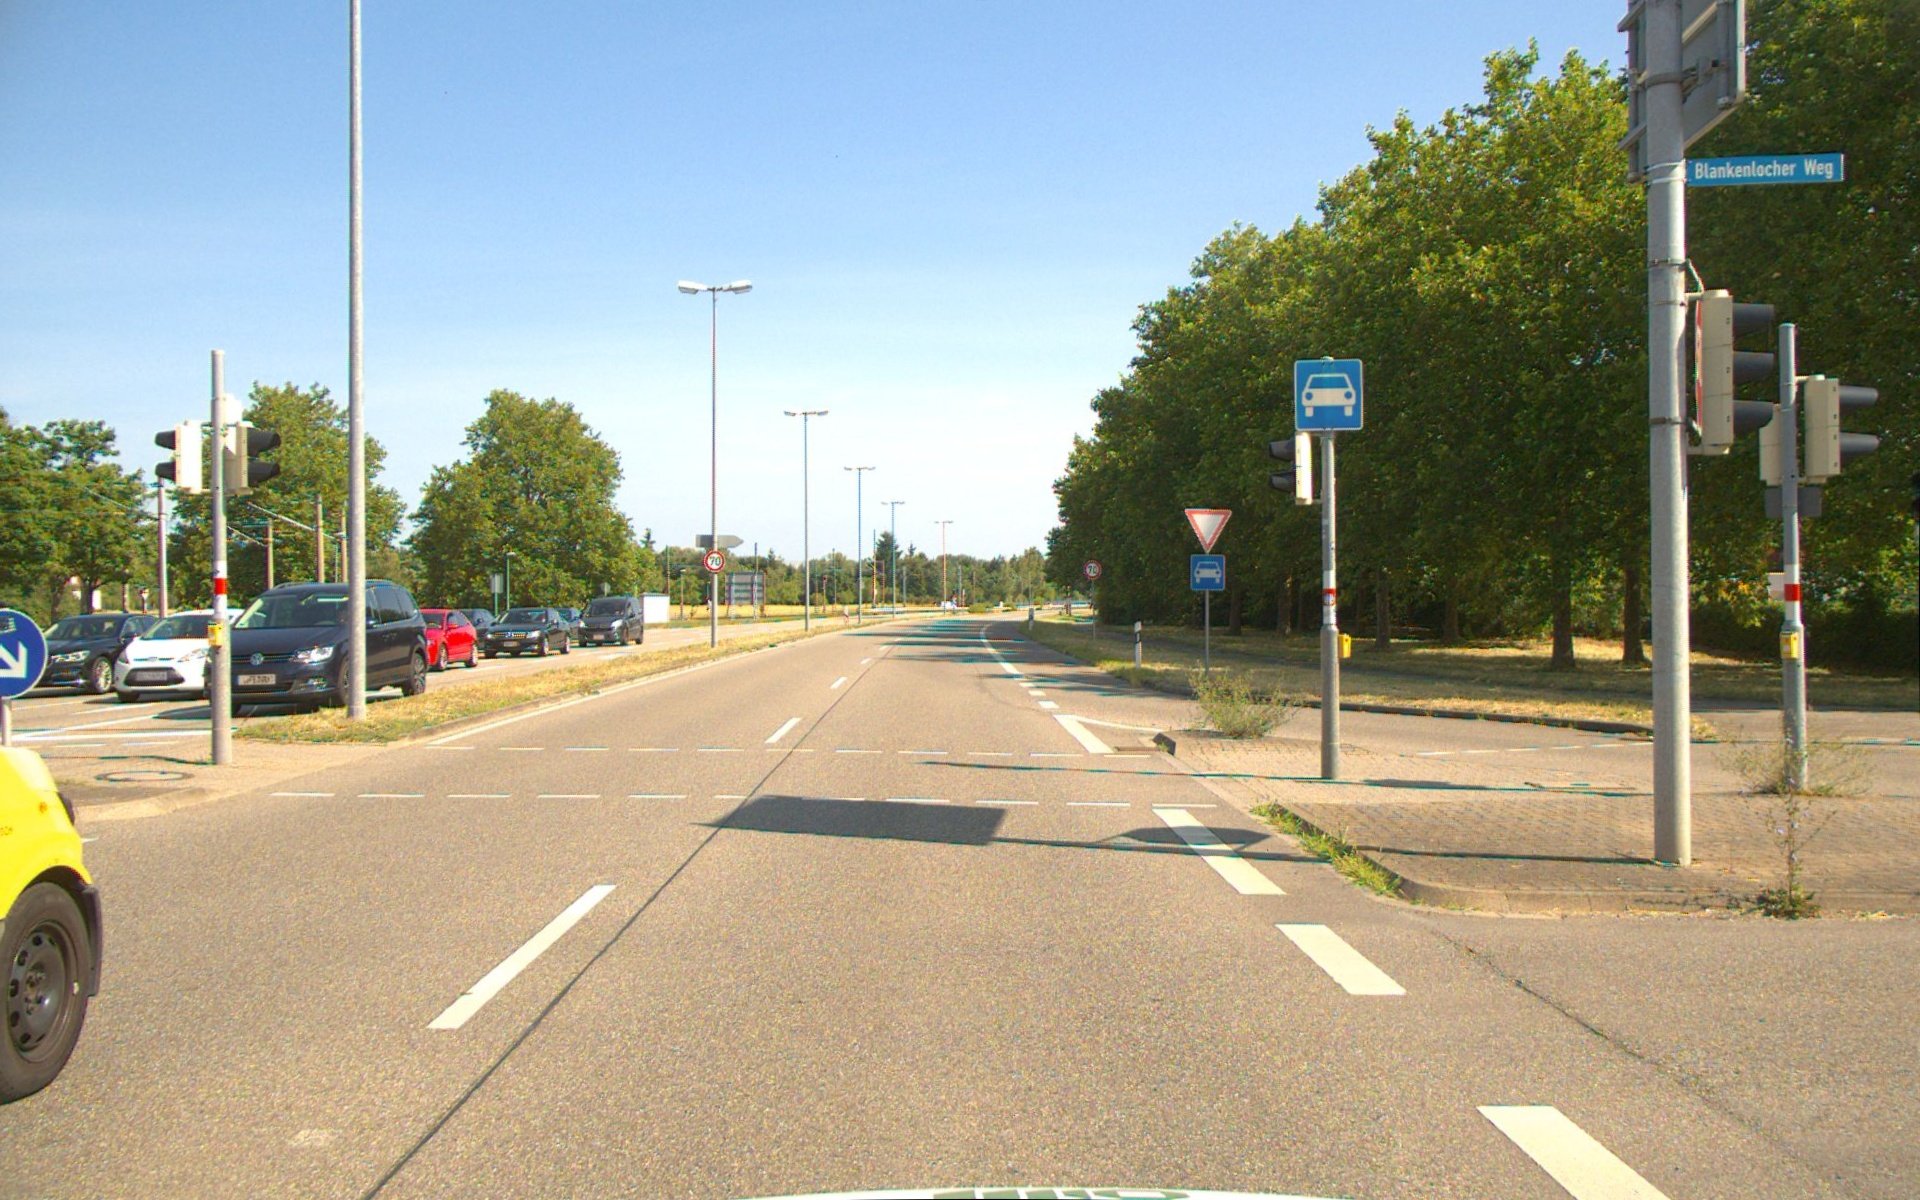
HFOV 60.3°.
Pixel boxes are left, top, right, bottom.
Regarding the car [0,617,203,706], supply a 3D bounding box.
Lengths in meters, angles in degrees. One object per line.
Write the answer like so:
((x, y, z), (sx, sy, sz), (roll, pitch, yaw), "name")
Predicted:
((-16.813, 1.112, 31.949), (1.953, 1.500, 5.614), (-1, 0, -2), "car")

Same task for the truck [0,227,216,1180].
((-3.507, 0.258, 2.637), (2.069, 2.500, 5.915), (0, 0, -2), "truck")

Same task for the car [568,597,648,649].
((-12.862, 0.838, 60.707), (1.940, 1.811, 4.489), (-1, 0, 0), "car")

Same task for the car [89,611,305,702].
((-12.755, 0.901, 27.928), (1.791, 1.410, 3.844), (-1, 0, 1), "car")

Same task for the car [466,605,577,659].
((-12.760, 0.904, 48.379), (1.940, 1.483, 4.451), (-1, 0, 1), "car")

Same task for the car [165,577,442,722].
((-8.914, 0.619, 22.919), (1.940, 1.781, 4.508), (-1, 0, 1), "car")

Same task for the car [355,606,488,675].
((-12.397, 0.896, 38.310), (1.778, 1.511, 4.000), (-1, 0, 0), "car")
